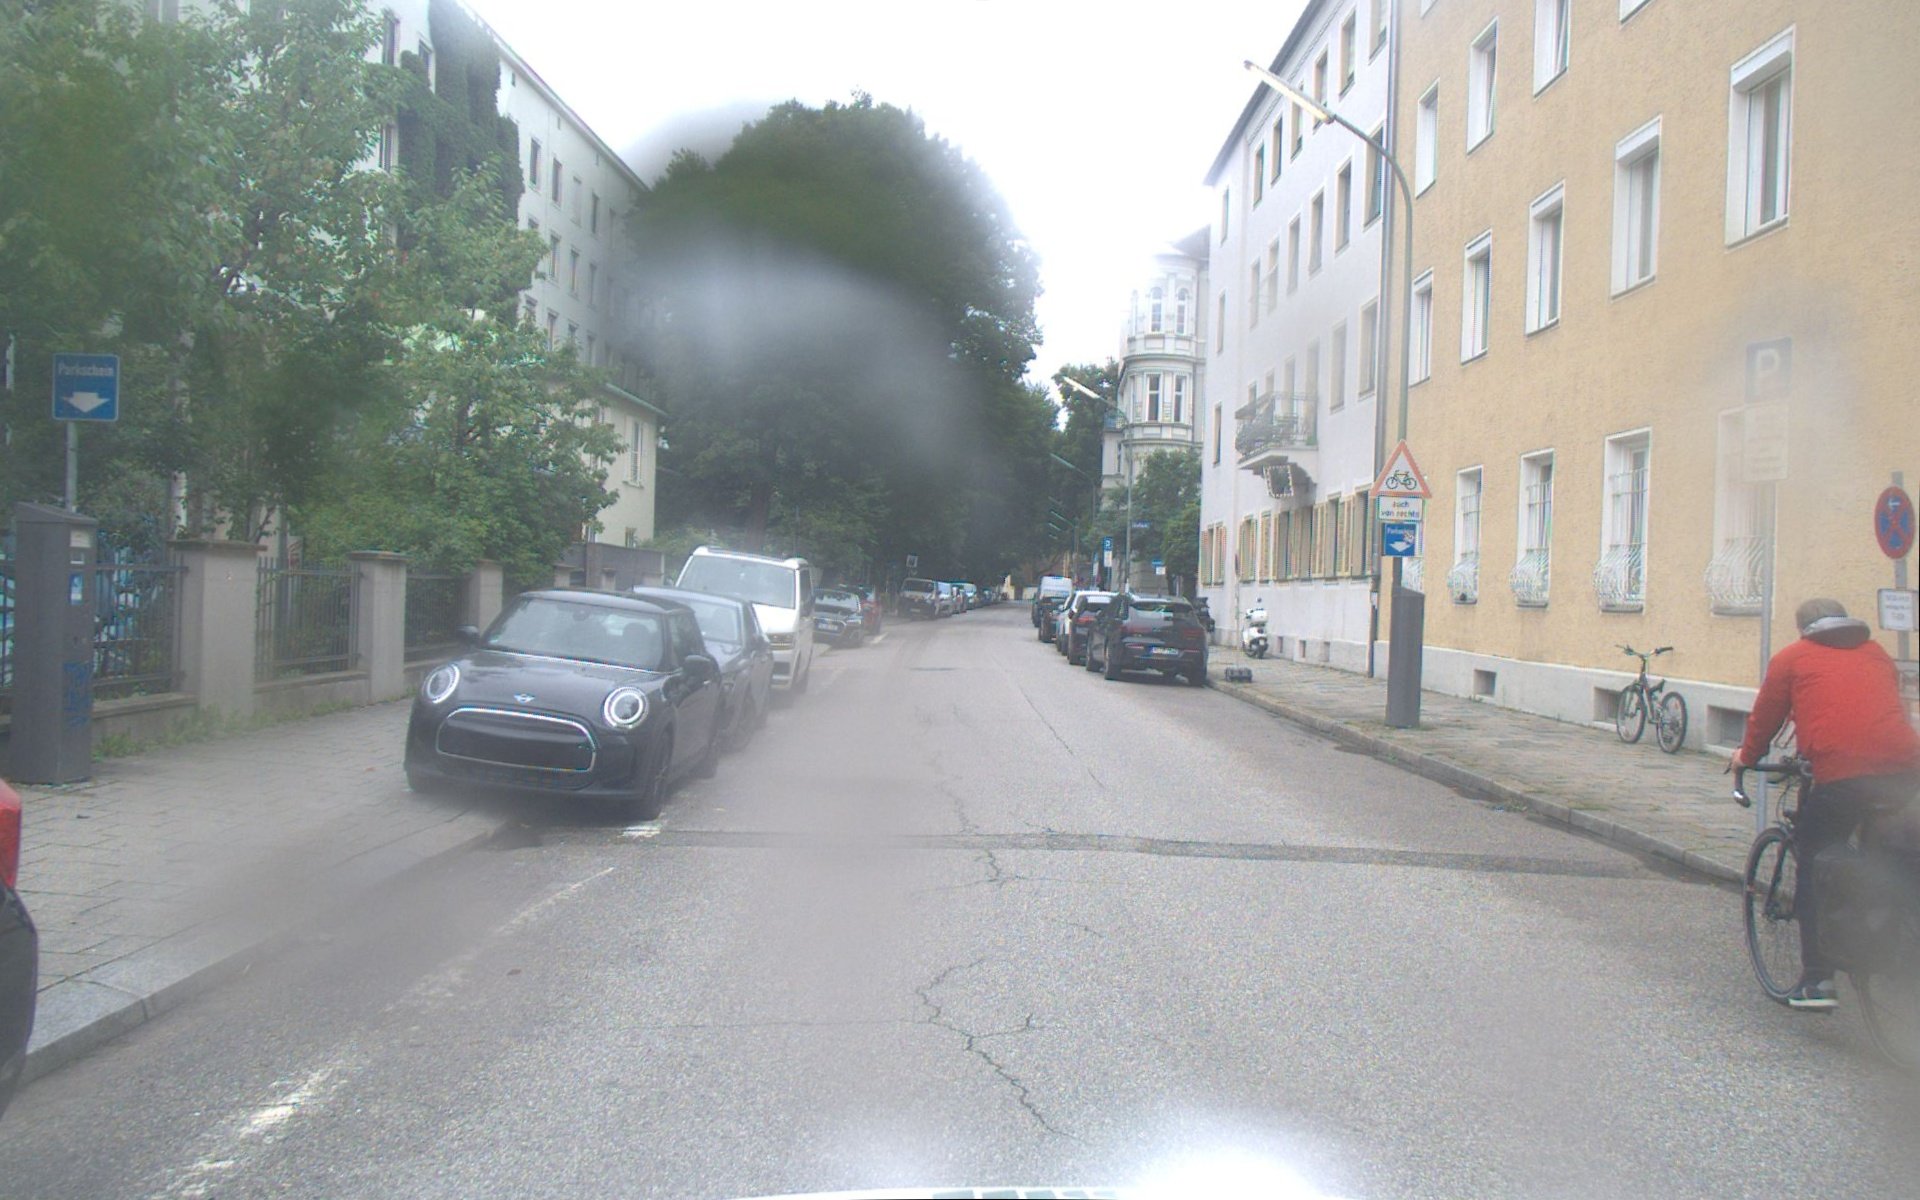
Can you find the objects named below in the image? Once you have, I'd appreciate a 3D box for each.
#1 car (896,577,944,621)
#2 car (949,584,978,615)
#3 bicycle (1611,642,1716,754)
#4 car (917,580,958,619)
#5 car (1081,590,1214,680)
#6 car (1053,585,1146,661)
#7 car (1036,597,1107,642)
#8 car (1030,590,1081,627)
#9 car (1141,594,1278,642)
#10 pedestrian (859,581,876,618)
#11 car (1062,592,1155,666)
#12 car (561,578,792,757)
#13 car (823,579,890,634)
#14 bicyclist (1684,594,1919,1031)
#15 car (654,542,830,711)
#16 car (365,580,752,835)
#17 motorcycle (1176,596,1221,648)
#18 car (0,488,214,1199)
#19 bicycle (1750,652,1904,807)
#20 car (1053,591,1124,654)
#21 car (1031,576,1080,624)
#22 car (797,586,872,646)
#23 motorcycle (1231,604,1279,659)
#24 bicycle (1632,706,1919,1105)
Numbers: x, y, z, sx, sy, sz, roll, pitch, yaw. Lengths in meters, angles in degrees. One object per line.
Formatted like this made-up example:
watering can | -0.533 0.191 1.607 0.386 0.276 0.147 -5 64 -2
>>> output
car | -1.955 -0.062 82.063 2.202 1.990 5.453 3 0 0
car | 0.286 -0.069 126.753 1.961 2.224 4.697 3 0 1
bicycle | 7.606 1.034 17.950 0.335 1.101 1.813 -1 0 -1
car | -1.265 -0.028 93.771 2.139 1.990 5.166 3 0 0
car | 3.604 0.620 32.631 1.823 1.604 4.897 1 0 -3
car | 3.596 0.554 43.371 1.953 1.736 4.534 4 0 0
car | 3.520 0.585 52.871 1.959 1.342 4.595 0 0 0
car | 4.378 0.381 74.996 2.225 1.573 4.589 1 0 4
car | 9.246 0.666 61.550 4.806 1.558 1.913 2 3 0
pedestrian | -4.149 -0.026 74.233 0.699 1.575 0.752 4 0 -3
car | 3.358 0.627 38.067 1.800 1.558 4.416 1 0 1
car | -2.819 0.598 17.426 1.850 1.570 4.693 2 0 -4
car | -3.328 0.194 53.908 1.849 1.618 4.527 3 0 0
bicyclist | 3.369 0.756 6.296 0.739 1.509 0.981 3 0 1
car | -2.943 0.317 23.398 1.927 2.025 5.149 3 0 -3
car | -2.748 0.658 12.338 1.820 1.571 4.188 0 0 0
motorcycle | 7.075 0.620 49.134 0.840 1.458 2.706 2 0 -2
car | -2.719 0.564 1.464 1.807 1.635 4.743 3 0 1
bicycle | 7.345 1.061 14.086 0.335 1.155 1.759 1 0 -1
car | 3.685 0.621 47.994 1.735 1.572 3.712 6 0 2
car | 4.697 0.008 81.957 2.158 2.247 4.855 1 0 1
car | -3.295 0.386 44.172 1.771 1.426 4.921 3 0 -3
motorcycle | 7.174 0.760 40.343 0.717 1.260 2.007 3 0 -1
bicycle | 3.337 1.072 6.378 0.658 1.161 2.011 3 0 1
